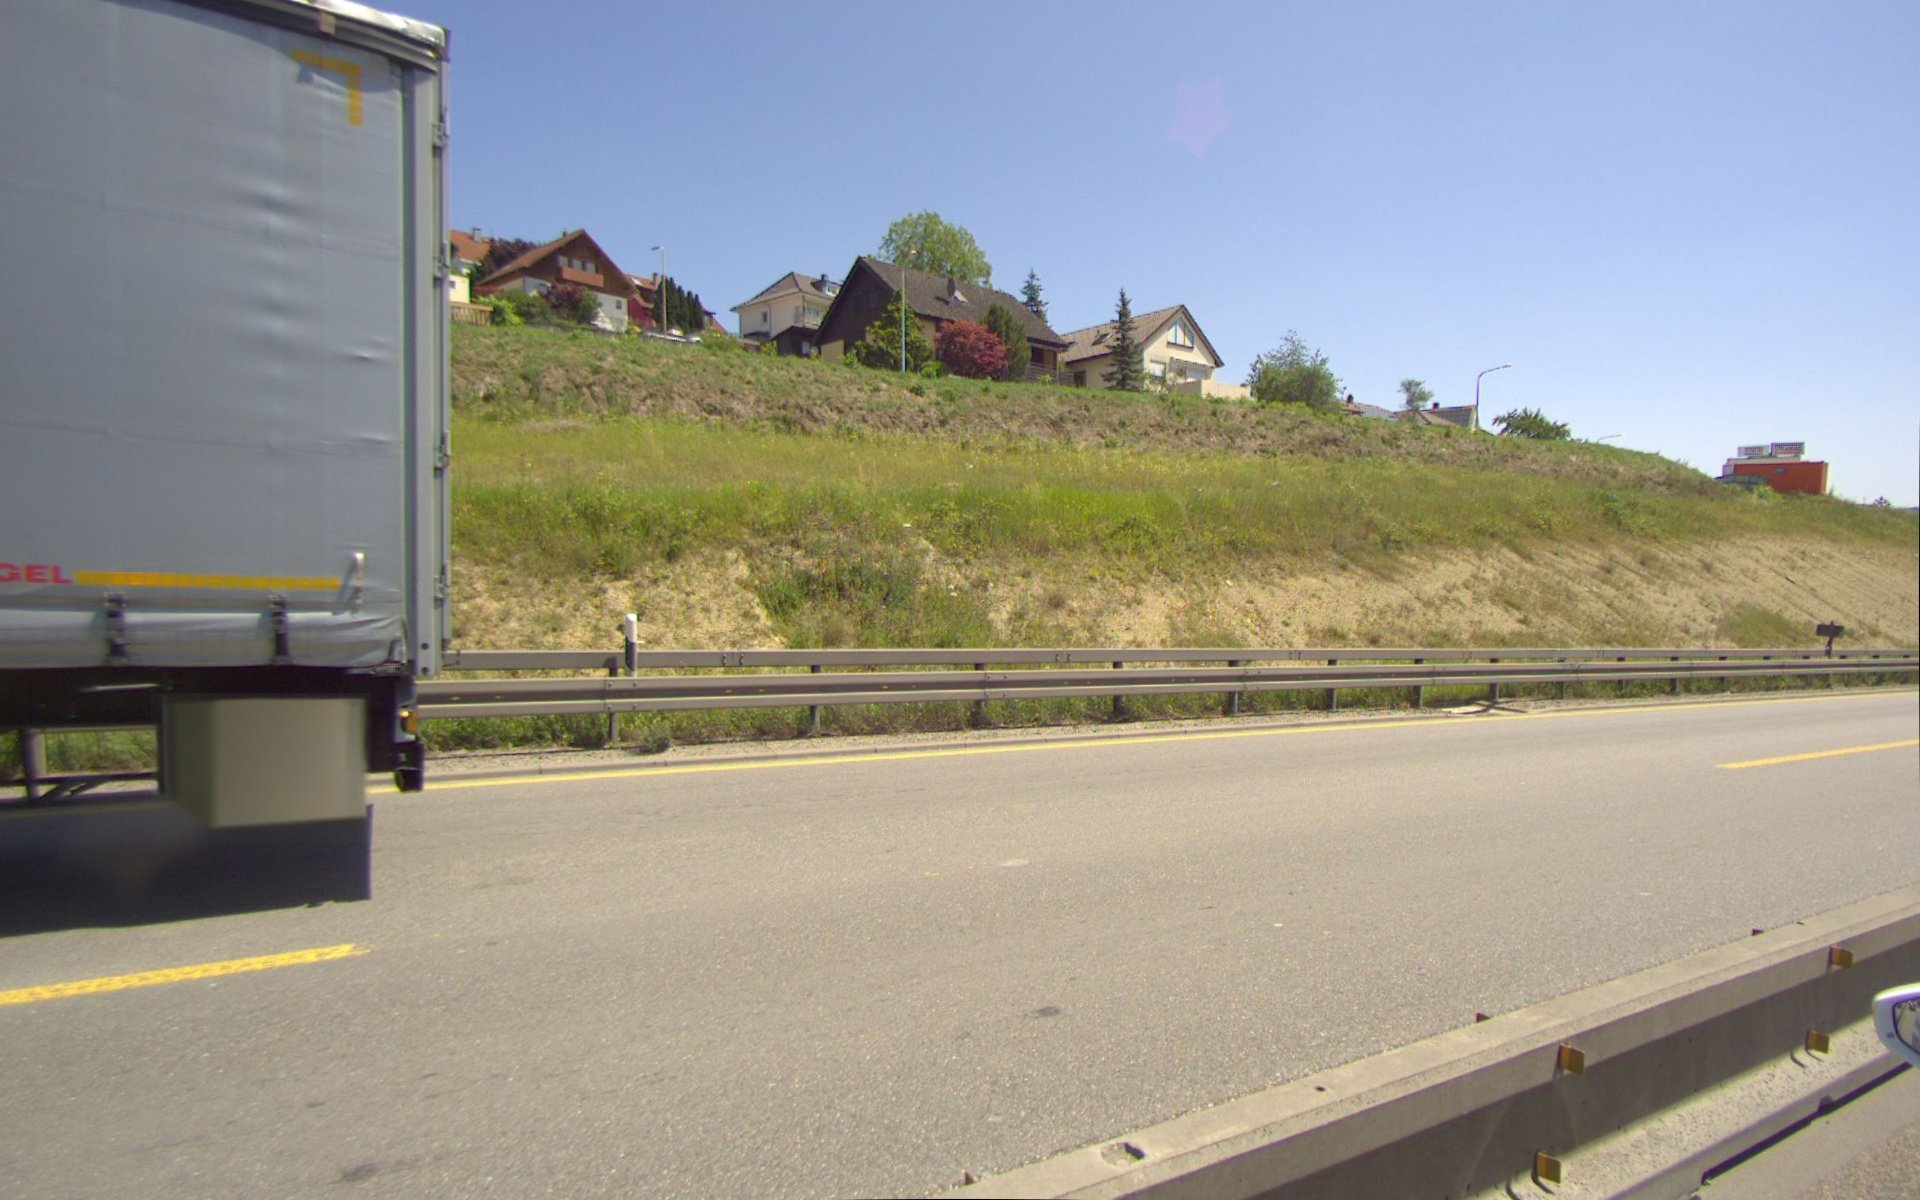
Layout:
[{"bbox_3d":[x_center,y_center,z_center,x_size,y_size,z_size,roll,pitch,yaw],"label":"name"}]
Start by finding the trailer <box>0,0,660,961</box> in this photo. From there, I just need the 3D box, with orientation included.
[{"bbox_3d":[-8.182,-0.898,2.668,13.875,4.344,2.796,1,0,-31],"label":"trailer"}]
